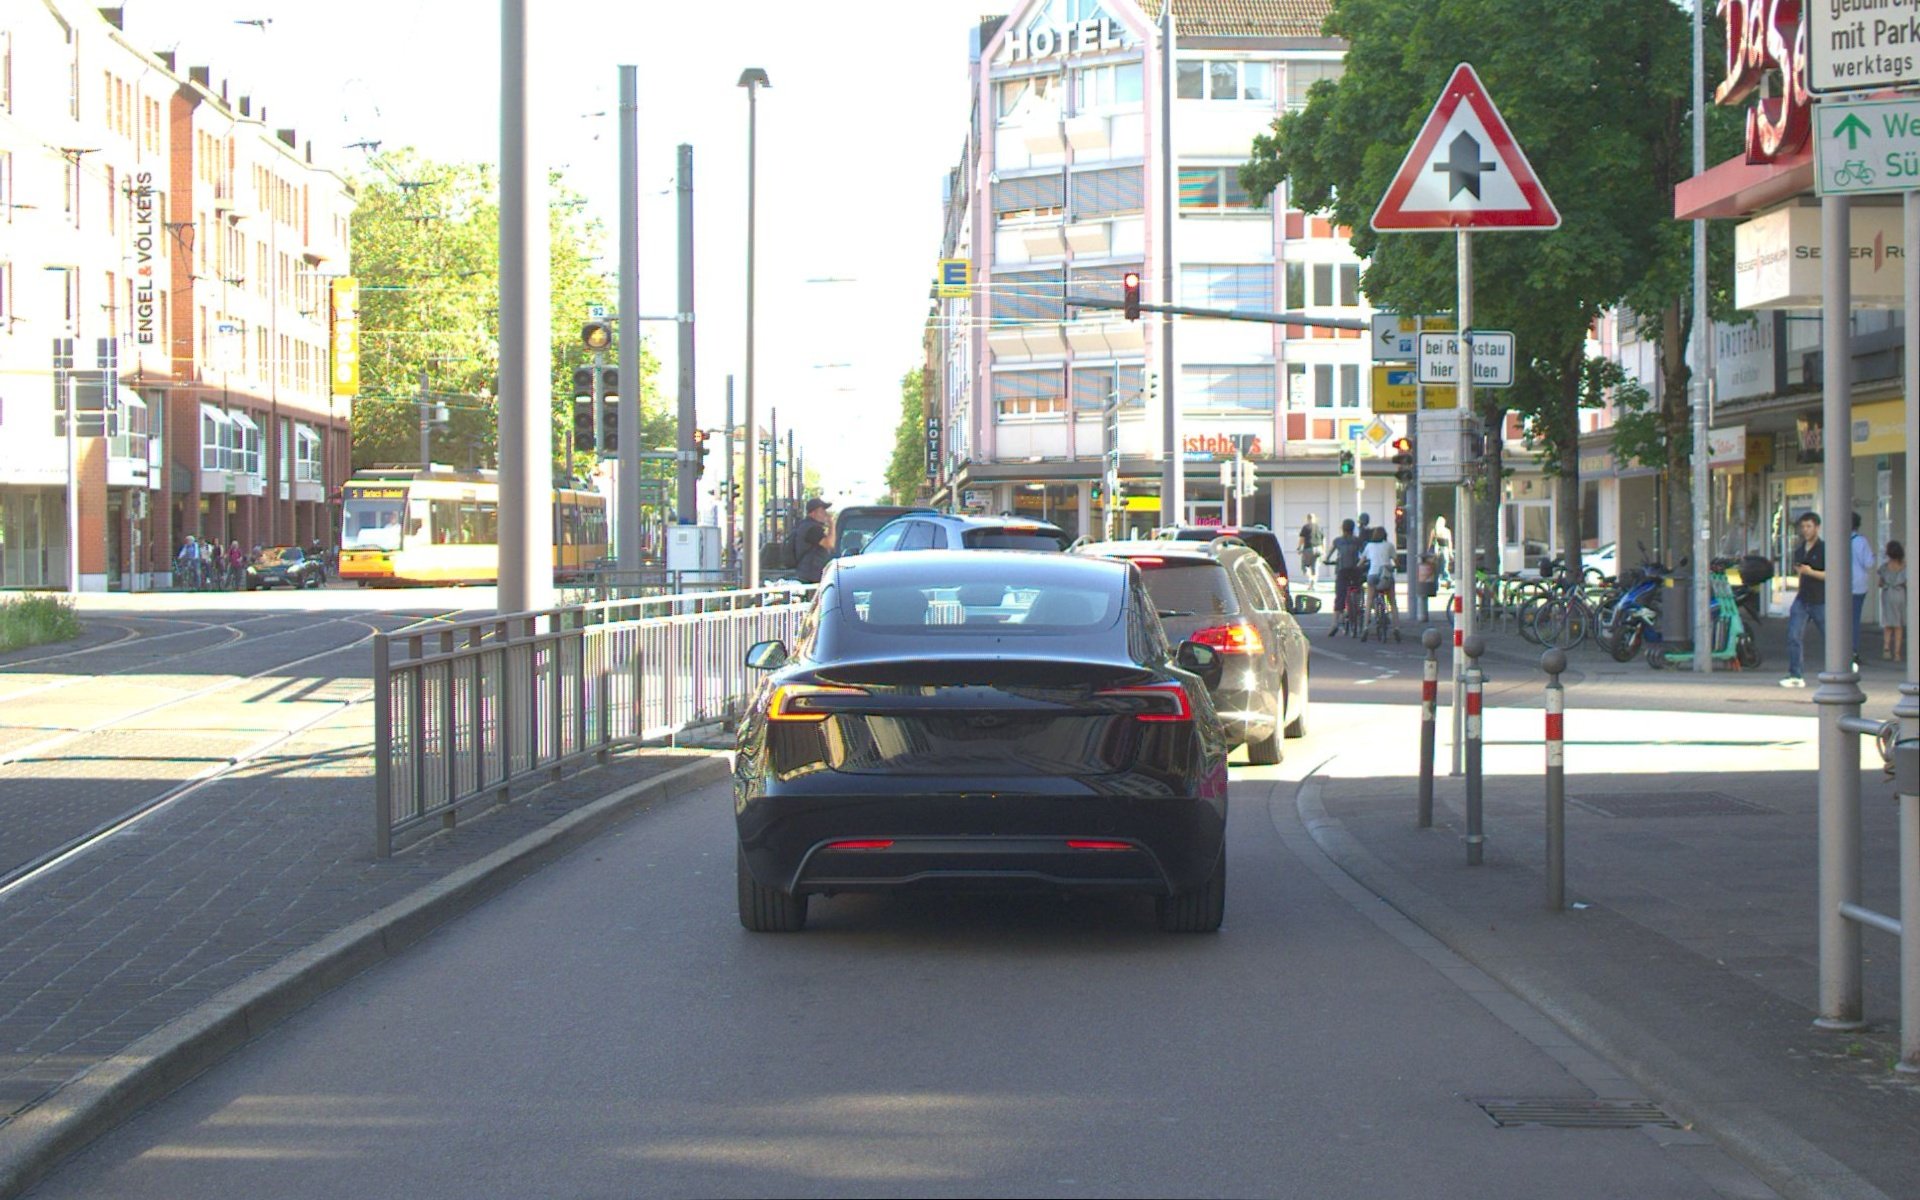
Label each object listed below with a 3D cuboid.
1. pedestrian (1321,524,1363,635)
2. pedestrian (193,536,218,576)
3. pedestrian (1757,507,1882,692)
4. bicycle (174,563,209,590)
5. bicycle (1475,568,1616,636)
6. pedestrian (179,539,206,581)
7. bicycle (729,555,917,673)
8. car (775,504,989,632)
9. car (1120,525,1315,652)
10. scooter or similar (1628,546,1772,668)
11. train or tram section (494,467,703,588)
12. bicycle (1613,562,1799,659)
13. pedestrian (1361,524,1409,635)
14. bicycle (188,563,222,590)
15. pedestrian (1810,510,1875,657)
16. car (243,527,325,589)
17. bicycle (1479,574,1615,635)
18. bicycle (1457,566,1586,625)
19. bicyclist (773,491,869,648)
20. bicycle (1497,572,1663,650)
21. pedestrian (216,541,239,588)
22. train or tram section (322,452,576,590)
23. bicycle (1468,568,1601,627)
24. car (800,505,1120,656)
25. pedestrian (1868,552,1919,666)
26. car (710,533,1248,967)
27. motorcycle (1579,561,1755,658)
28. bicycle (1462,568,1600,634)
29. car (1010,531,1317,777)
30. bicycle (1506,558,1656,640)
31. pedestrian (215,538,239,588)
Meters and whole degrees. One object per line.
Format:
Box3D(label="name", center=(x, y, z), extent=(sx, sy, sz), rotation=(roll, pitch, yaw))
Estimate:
Box3D(label="pedestrian", center=(5.821, -0.321, 52.411), extent=(0.562, 1.677, 0.750), rotation=(1, 1, 4))
Box3D(label="pedestrian", center=(-24.728, -1.432, 112.632), extent=(0.696, 1.303, 0.564), rotation=(-1, 1, -2))
Box3D(label="pedestrian", center=(8.220, -0.006, 32.881), extent=(1.004, 1.736, 0.529), rotation=(2, 1, -26))
Box3D(label="bicycle", center=(-24.659, -0.761, 110.370), extent=(0.702, 0.852, 2.053), rotation=(-1, 1, -1))
Box3D(label="bicycle", center=(8.398, 0.024, 49.321), extent=(1.924, 0.947, 0.526), rotation=(0, 1, 0))
Box3D(label="pedestrian", center=(-24.659, -1.289, 110.458), extent=(0.711, 1.337, 0.666), rotation=(0, 1, -1))
Box3D(label="bicycle", center=(-1.337, 0.130, 33.456), extent=(1.727, 1.084, 0.678), rotation=(2, 1, -8))
Box3D(label="car", center=(-1.051, -0.427, 43.963), extent=(1.824, 1.514, 4.219), rotation=(2, 1, -14))
Box3D(label="car", center=(3.262, -0.174, 44.218), extent=(1.824, 1.514, 3.650), rotation=(2, 1, -6))
Box3D(label="scooter or similar", center=(8.138, 0.077, 37.823), extent=(1.408, 1.312, 0.696), rotation=(0, -1, -26))
Box3D(label="train or tram section", center=(-11.903, -2.337, 115.292), extent=(2.638, 3.706, 15.380), rotation=(2, 1, 10))
Box3D(label="bicycle", center=(8.716, 0.122, 40.204), extent=(2.051, 1.118, 0.483), rotation=(0, 1, 0))
Box3D(label="pedestrian", center=(6.215, -0.301, 50.295), extent=(0.629, 1.608, 0.643), rotation=(1, 1, 3))
Box3D(label="bicycle", center=(-24.728, -0.781, 112.585), extent=(0.702, 0.852, 2.053), rotation=(-1, 1, -1))
Box3D(label="pedestrian", center=(9.933, -0.186, 38.695), extent=(0.595, 1.636, 0.466), rotation=(-1, 1, 1))
Box3D(label="car", center=(-22.535, -1.414, 114.771), extent=(1.993, 2.007, 4.000), rotation=(0, 1, -1))
Box3D(label="bicycle", center=(8.759, 0.064, 51.339), extent=(1.924, 0.885, 0.526), rotation=(0, 1, 0))
Box3D(label="bicycle", center=(8.721, -0.073, 53.420), extent=(1.924, 0.887, 0.526), rotation=(0, 1, 0))
Box3D(label="bicyclist", center=(-1.357, -0.296, 33.514), extent=(0.836, 1.494, 0.560), rotation=(2, 1, -9))
Box3D(label="bicycle", center=(7.994, 0.138, 44.369), extent=(2.051, 0.979, 0.483), rotation=(0, 1, 0))
Box3D(label="pedestrian", center=(-24.435, -1.197, 114.676), extent=(0.711, 1.549, 0.564), rotation=(2, 1, -10))
Box3D(label="train or tram section", center=(-14.742, -2.218, 100.798), extent=(2.675, 3.703, 14.185), rotation=(2, 1, 11))
Box3D(label="bicycle", center=(8.758, -0.042, 52.440), extent=(1.924, 0.887, 0.526), rotation=(0, 1, 0))
Box3D(label="car", center=(-0.072, -0.248, 37.478), extent=(1.783, 1.514, 4.219), rotation=(1, 1, -26))
Box3D(label="pedestrian", center=(10.558, 0.096, 38.896), extent=(0.420, 1.276, 0.531), rotation=(-1, 1, 1))
Box3D(label="car", center=(-0.005, 0.500, 13.871), extent=(1.849, 1.479, 3.787), rotation=(1, 1, -2))
Box3D(label="motorcycle", center=(8.660, 0.110, 42.138), extent=(1.991, 1.124, 0.596), rotation=(2, 1, -1))
Box3D(label="bicycle", center=(8.349, 0.009, 50.337), extent=(1.924, 0.947, 0.526), rotation=(0, 1, 0))
Box3D(label="car", center=(1.428, 0.285, 22.762), extent=(1.654, 1.413, 3.999), rotation=(2, 2, 8))
Box3D(label="bicycle", center=(8.372, -0.019, 46.375), extent=(1.924, 1.093, 0.555), rotation=(0, 1, 0))
Box3D(label="pedestrian", center=(-24.812, -1.248, 116.392), extent=(0.711, 1.661, 0.564), rotation=(2, 1, -10))
